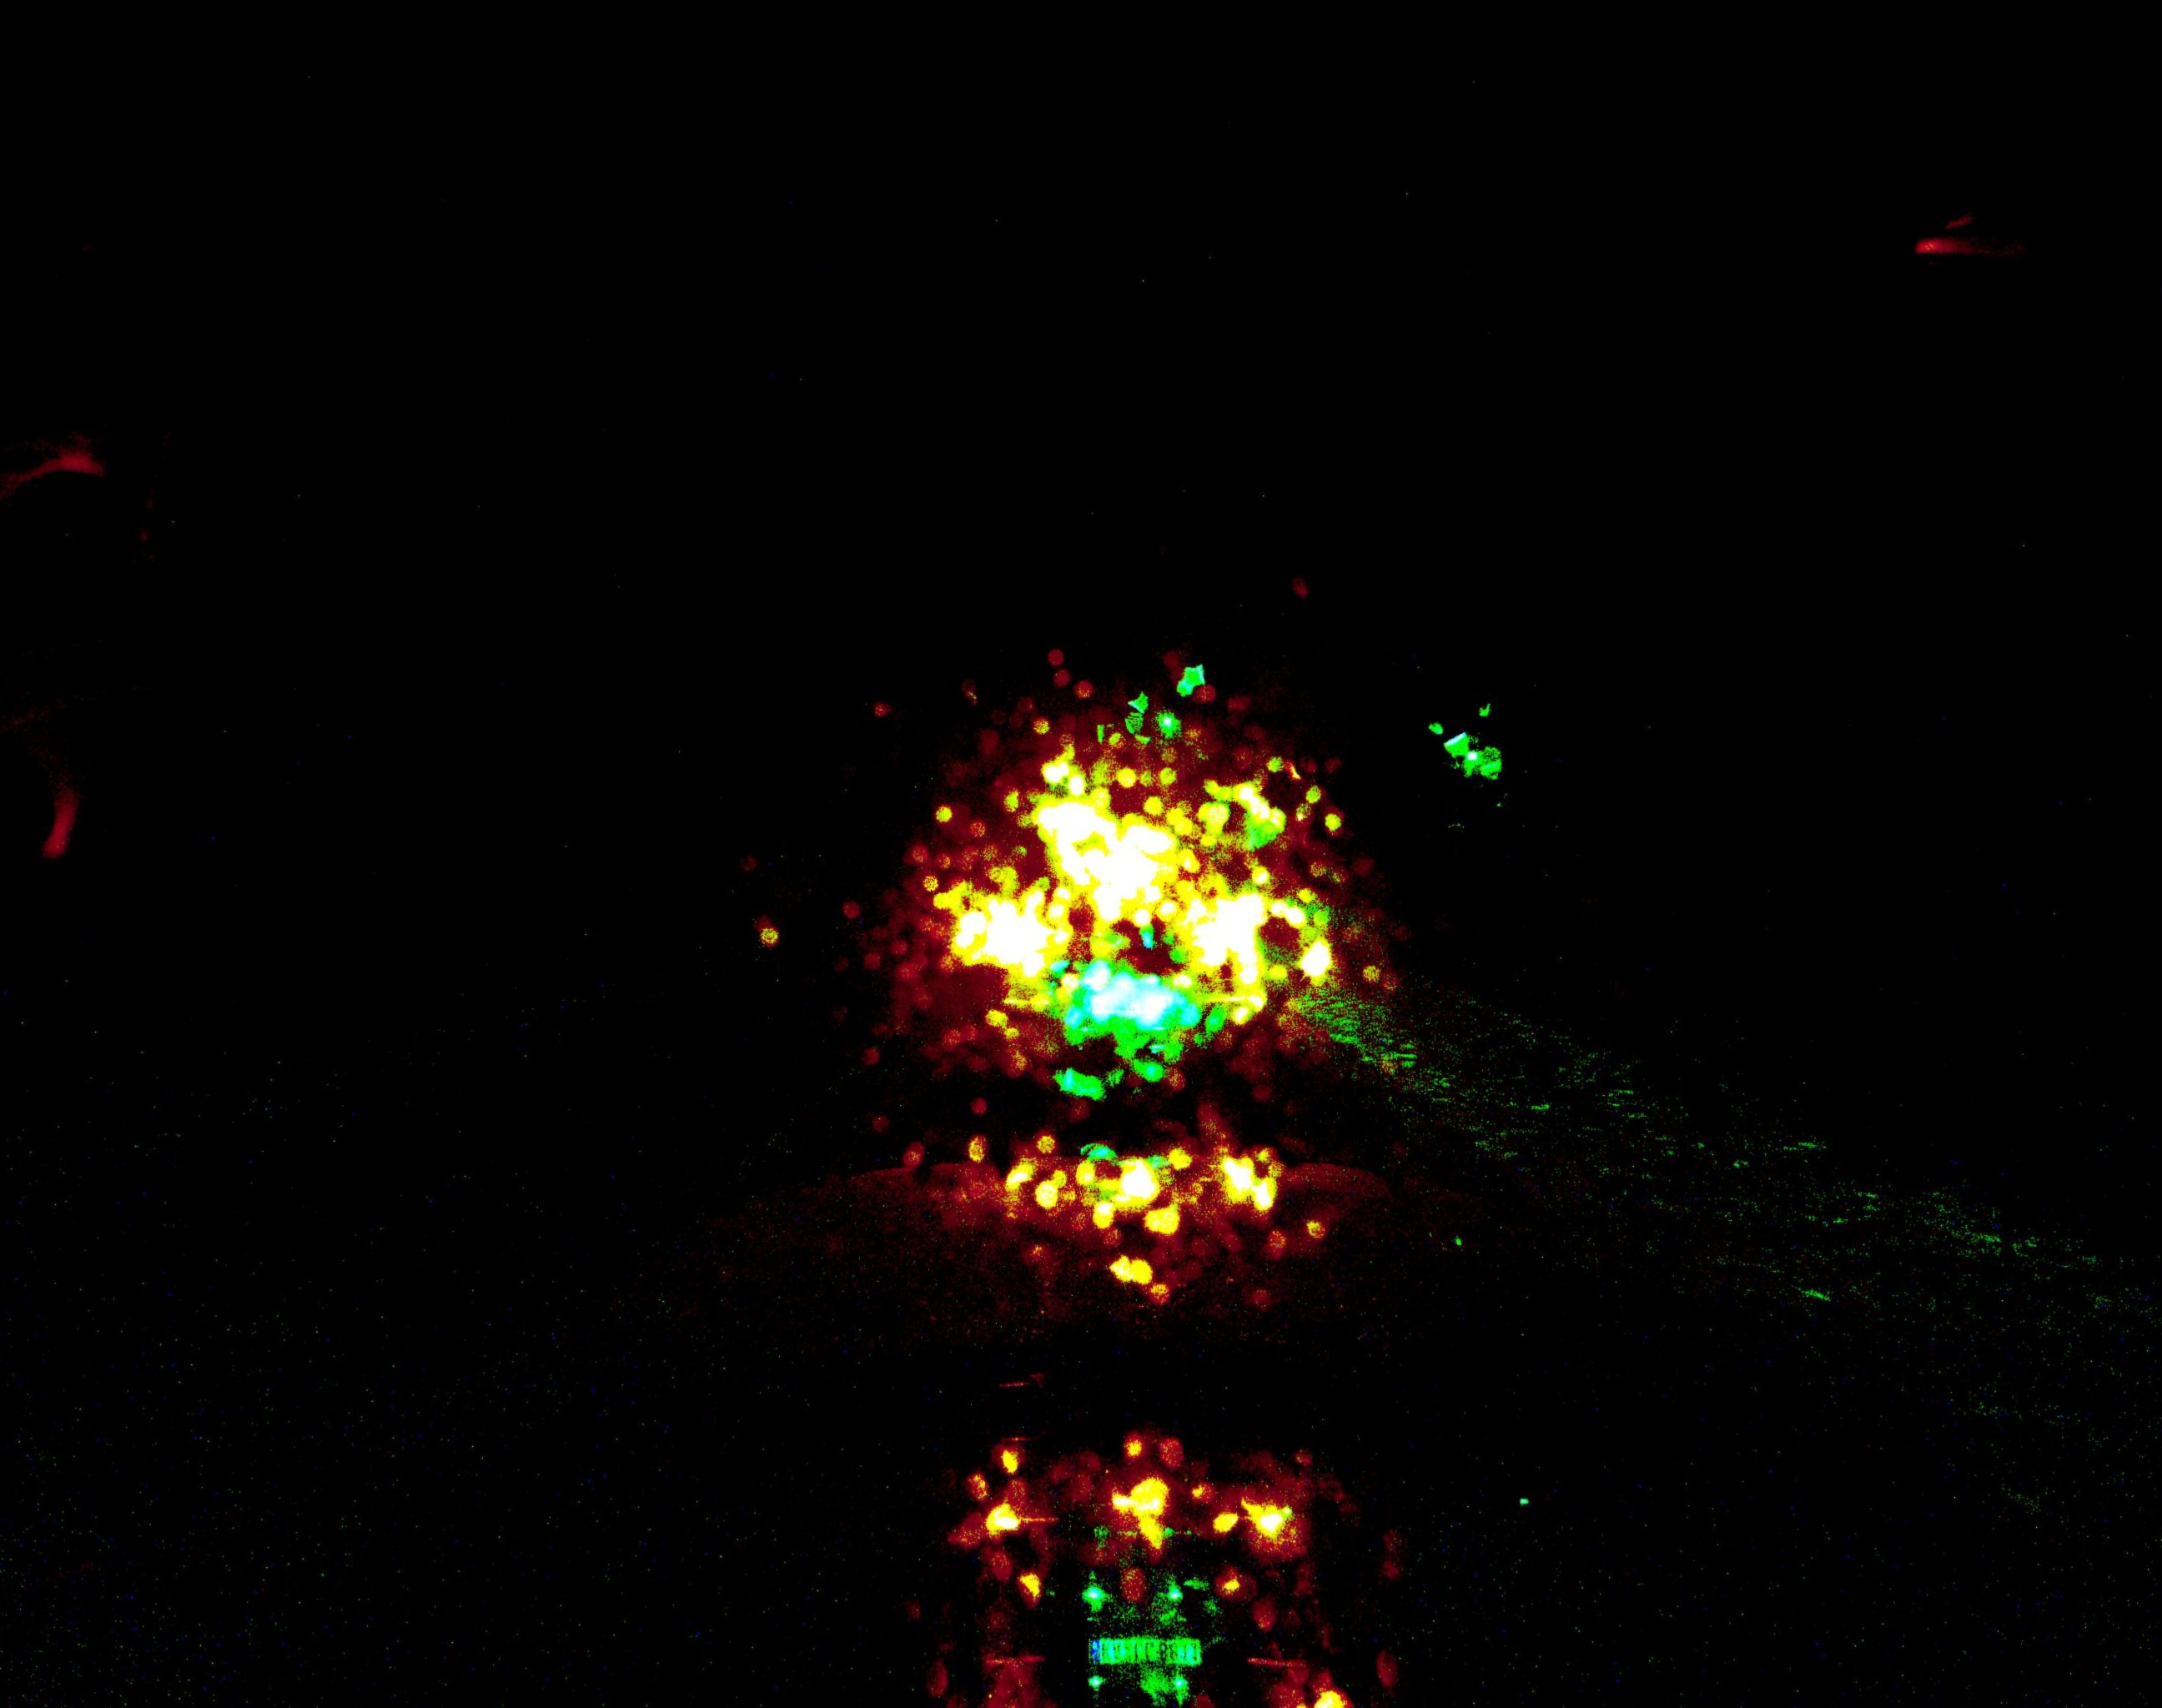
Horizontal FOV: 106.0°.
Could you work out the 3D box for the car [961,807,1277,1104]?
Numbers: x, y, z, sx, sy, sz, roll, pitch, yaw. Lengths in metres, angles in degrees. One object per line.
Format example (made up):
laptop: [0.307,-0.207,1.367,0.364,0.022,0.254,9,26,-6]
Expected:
car: [0.317,0.571,6.642,1.783,1.681,3.907,-1,0,3]

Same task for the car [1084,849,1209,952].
car: [1.117,0.658,13.622,1.735,1.415,4.006,-2,0,5]
